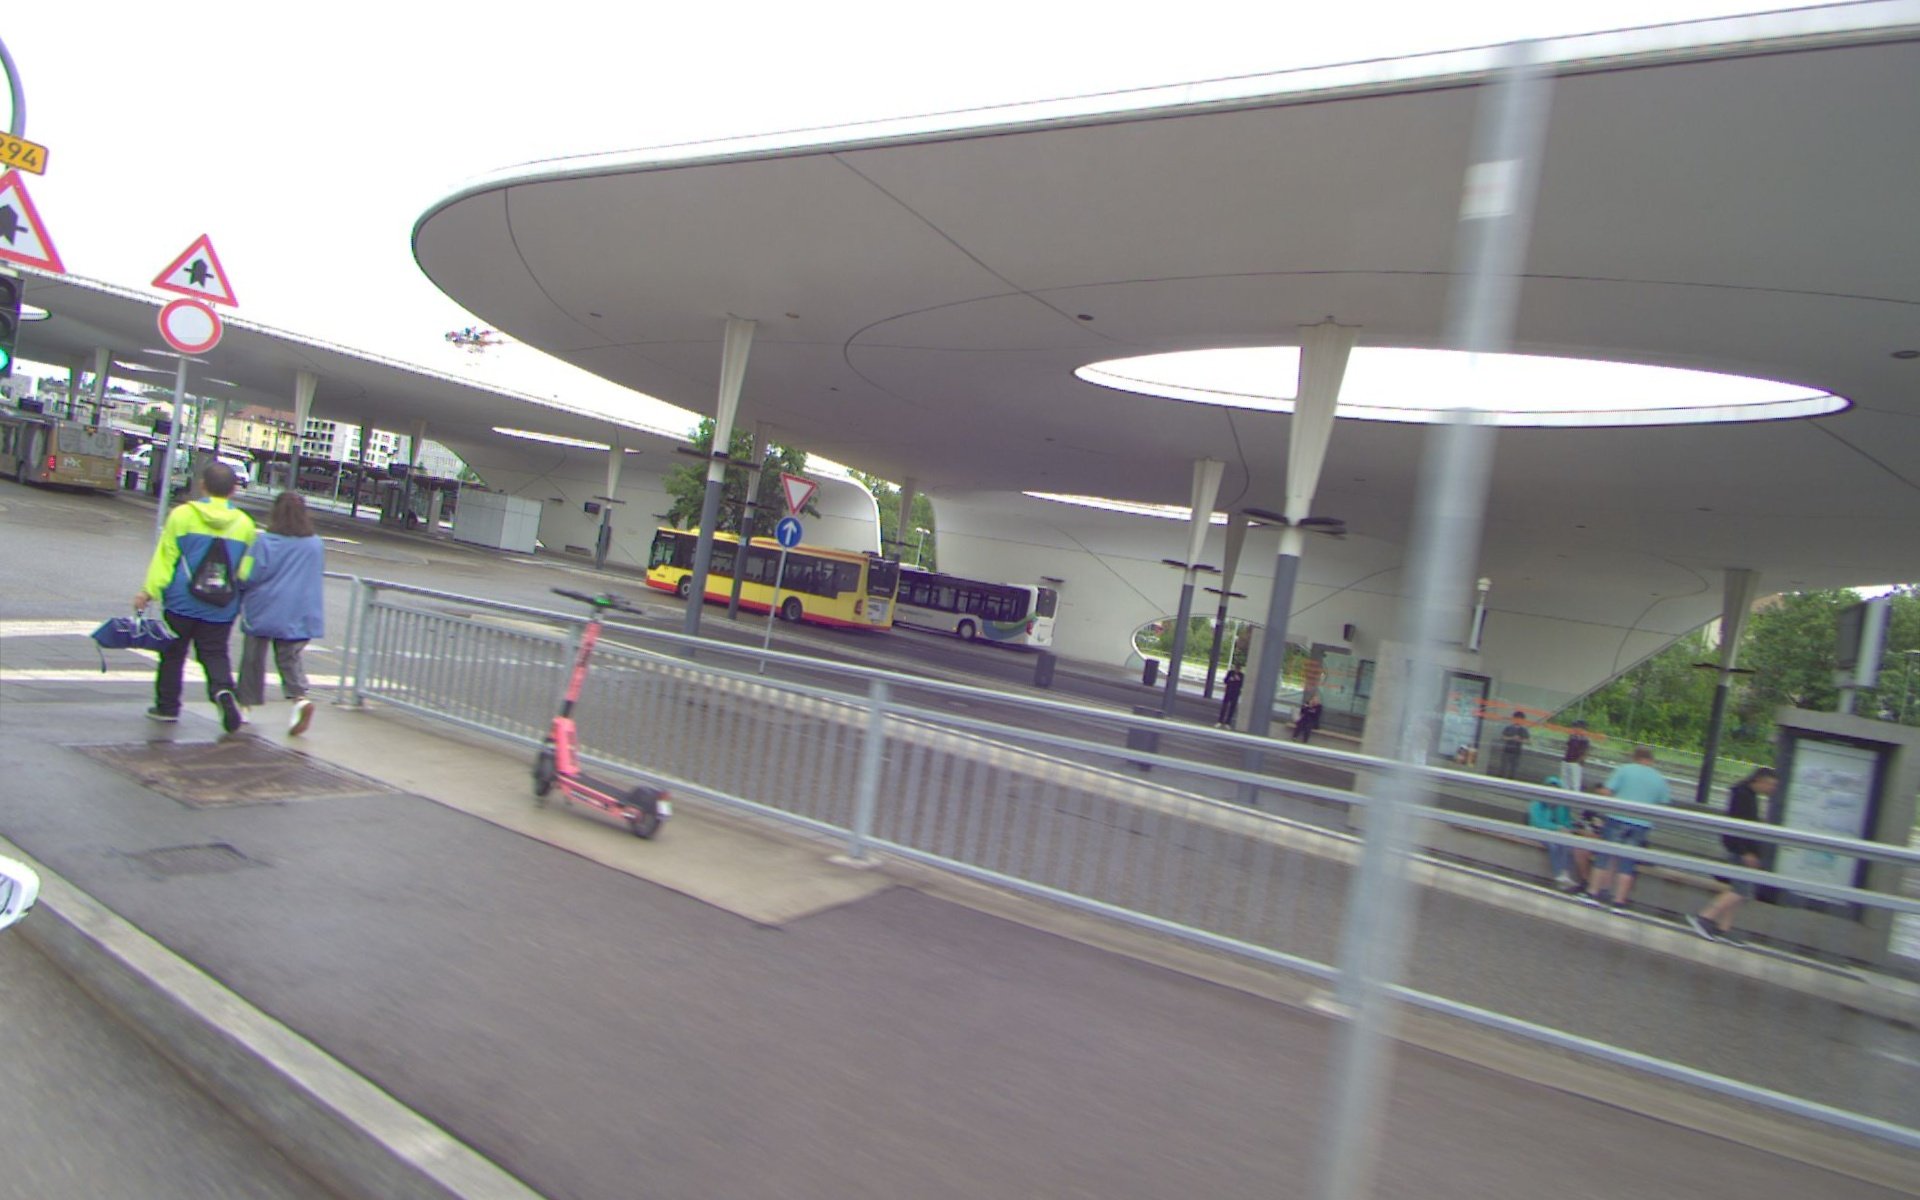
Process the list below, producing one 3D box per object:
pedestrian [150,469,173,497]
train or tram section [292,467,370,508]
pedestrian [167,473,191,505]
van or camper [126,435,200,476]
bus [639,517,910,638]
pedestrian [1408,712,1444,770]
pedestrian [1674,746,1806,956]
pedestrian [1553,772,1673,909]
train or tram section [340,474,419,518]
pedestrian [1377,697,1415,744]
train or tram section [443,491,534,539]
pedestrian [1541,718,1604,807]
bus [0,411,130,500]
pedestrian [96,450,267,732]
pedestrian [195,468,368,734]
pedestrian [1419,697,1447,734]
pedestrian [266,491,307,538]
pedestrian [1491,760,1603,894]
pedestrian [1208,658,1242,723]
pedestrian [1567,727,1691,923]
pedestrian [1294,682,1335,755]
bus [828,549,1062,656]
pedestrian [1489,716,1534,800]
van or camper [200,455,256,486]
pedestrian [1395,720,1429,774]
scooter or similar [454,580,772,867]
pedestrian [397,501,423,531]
[{"bbox_3d":[-39.906,-5.823,50.263,0.790,1.242,0.626,7,3,-41],"label":"pedestrian"},{"bbox_3d":[-82.734,-14.797,132.151,12.115,3.699,3.141,10,-2,31],"label":"train or tram section"},{"bbox_3d":[-38.099,-5.401,49.051,0.790,1.395,0.626,7,3,-41],"label":"pedestrian"},{"bbox_3d":[-73.605,-13.327,92.957,2.083,2.586,4.621,8,-3,30],"label":"van or camper"},{"bbox_3d":[-8.002,-1.050,42.072,11.934,3.298,2.793,9,1,30],"label":"bus"},{"bbox_3d":[10.055,3.047,21.714,0.390,1.160,0.362,8,2,-17],"label":"pedestrian"},{"bbox_3d":[7.972,2.540,10.317,0.637,1.928,0.585,11,3,25],"label":"pedestrian"},{"bbox_3d":[7.660,2.802,11.848,0.637,1.272,0.952,10,4,8],"label":"pedestrian"},{"bbox_3d":[-72.819,-13.056,126.061,11.420,3.699,3.141,10,-2,31],"label":"train or tram section"},{"bbox_3d":[13.577,3.750,31.326,0.790,1.339,0.710,5,-4,39],"label":"pedestrian"},{"bbox_3d":[-53.587,-9.670,114.191,11.420,3.718,3.141,10,-2,31],"label":"train or tram section"},{"bbox_3d":[12.705,3.366,20.878,0.629,1.676,0.641,8,2,-8],"label":"pedestrian"},{"bbox_3d":[-42.659,-6.913,46.570,11.886,3.083,2.724,10,3,32],"label":"bus"},{"bbox_3d":[-4.926,-0.052,6.376,0.571,1.690,0.523,6,-1,31],"label":"pedestrian"},{"bbox_3d":[-4.545,0.015,6.754,0.571,1.688,0.590,5,-3,31],"label":"pedestrian"},{"bbox_3d":[19.175,4.686,40.786,0.789,1.339,0.710,6,-4,35],"label":"pedestrian"},{"bbox_3d":[-26.883,-3.400,40.167,1.002,1.706,0.719,8,3,6],"label":"pedestrian"},{"bbox_3d":[7.017,2.689,12.073,0.637,1.272,0.952,10,4,8],"label":"pedestrian"},{"bbox_3d":[6.553,2.237,24.865,0.513,1.521,0.381,10,2,34],"label":"pedestrian"},{"bbox_3d":[7.244,2.417,10.932,0.637,1.910,0.586,11,3,13],"label":"pedestrian"},{"bbox_3d":[8.305,2.778,23.557,0.666,1.606,0.590,6,-3,27],"label":"pedestrian"},{"bbox_3d":[-0.985,0.024,49.598,11.770,3.300,2.467,11,3,32],"label":"bus"},{"bbox_3d":[11.802,3.372,21.525,0.548,1.676,0.568,10,3,37],"label":"pedestrian"},{"bbox_3d":[-66.745,-11.810,91.658,5.388,2.126,1.999,8,-2,31],"label":"van or camper"},{"bbox_3d":[9.928,3.234,22.104,0.387,1.095,0.350,8,2,-17],"label":"pedestrian"},{"bbox_3d":[-1.925,0.594,5.454,1.828,1.236,0.464,6,0,31],"label":"scooter or similar"},{"bbox_3d":[-33.386,-5.085,61.072,0.892,1.604,0.797,9,0,26],"label":"pedestrian"}]
